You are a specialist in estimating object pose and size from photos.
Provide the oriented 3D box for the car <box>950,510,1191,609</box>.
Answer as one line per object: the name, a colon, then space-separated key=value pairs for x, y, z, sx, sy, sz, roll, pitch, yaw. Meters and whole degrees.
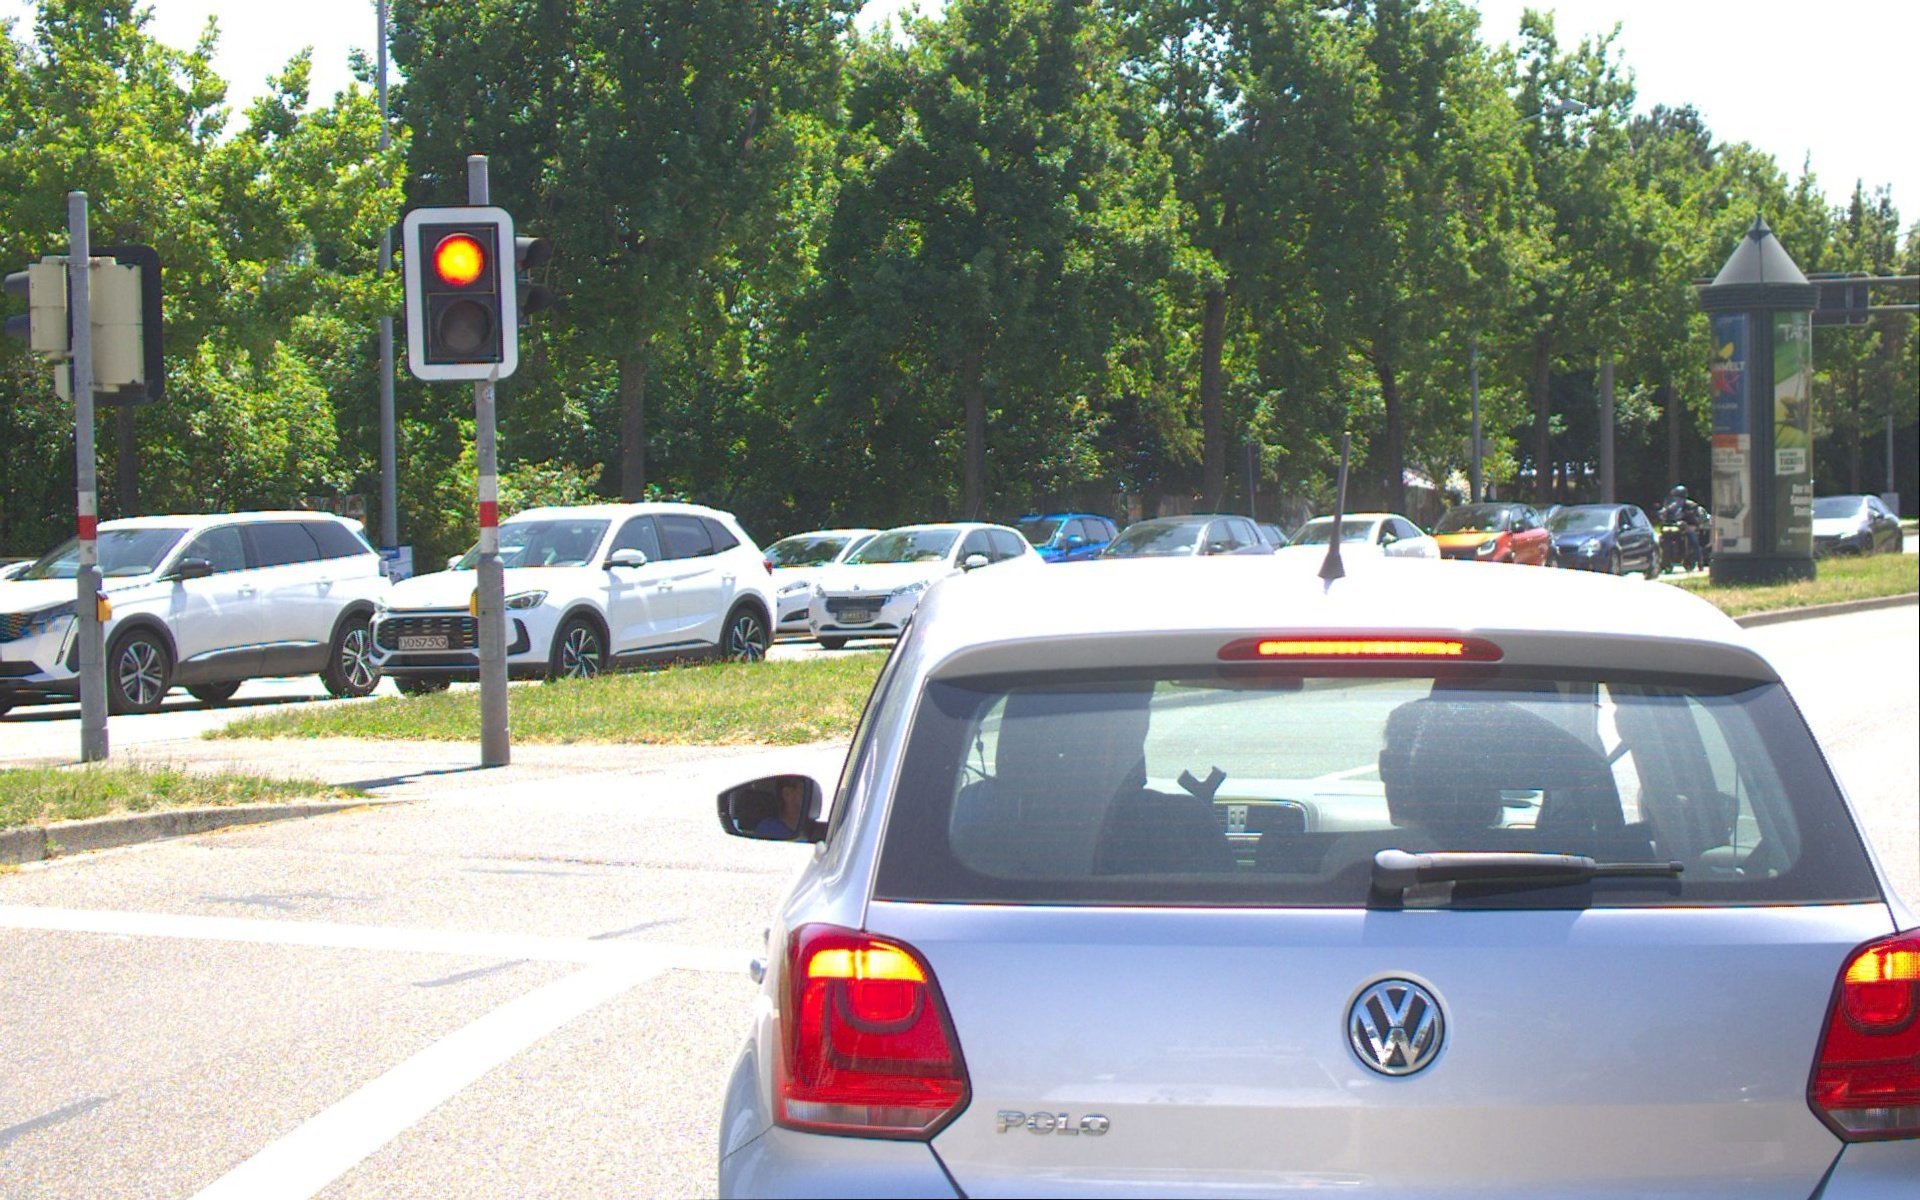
car: x=1.727 y=-0.644 z=52.070 sx=1.861 sy=1.417 sz=4.401 roll=0 pitch=2 yaw=29

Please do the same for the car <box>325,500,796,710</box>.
car: x=-3.382 y=-0.019 z=29.965 sx=1.861 sy=1.677 sz=4.401 roll=0 pitch=2 yaw=29

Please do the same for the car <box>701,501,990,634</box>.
car: x=-1.468 y=-0.476 z=45.954 sx=1.861 sy=1.677 sz=4.401 roll=0 pitch=2 yaw=29

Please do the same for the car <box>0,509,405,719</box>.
car: x=-6.813 y=0.052 z=29.095 sx=1.861 sy=1.612 sz=4.401 roll=0 pitch=2 yaw=29

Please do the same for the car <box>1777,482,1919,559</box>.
car: x=17.885 y=-1.607 z=68.955 sx=1.973 sy=1.483 sz=3.994 roll=0 pitch=2 yaw=28

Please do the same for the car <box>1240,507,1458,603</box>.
car: x=6.133 y=-0.726 z=53.778 sx=1.861 sy=1.417 sz=4.401 roll=0 pitch=2 yaw=29

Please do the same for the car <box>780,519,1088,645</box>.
car: x=-0.248 y=-0.257 z=42.057 sx=1.861 sy=1.417 sz=4.401 roll=0 pitch=2 yaw=29

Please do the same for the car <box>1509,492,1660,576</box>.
car: x=11.726 y=-1.237 z=64.419 sx=1.718 sy=1.470 sz=3.791 roll=-1 pitch=0 yaw=27

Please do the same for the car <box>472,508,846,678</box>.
car: x=-3.146 y=-0.126 z=36.868 sx=1.861 sy=1.677 sz=4.401 roll=0 pitch=2 yaw=29

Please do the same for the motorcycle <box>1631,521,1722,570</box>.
motorcycle: x=14.479 y=-1.103 z=69.375 sx=0.897 sy=0.949 sz=2.811 roll=-1 pitch=0 yaw=31

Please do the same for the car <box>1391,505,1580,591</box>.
car: x=9.201 y=-0.930 z=59.946 sx=1.861 sy=1.417 sz=4.401 roll=0 pitch=2 yaw=29

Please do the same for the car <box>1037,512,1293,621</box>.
car: x=2.908 y=-0.502 z=47.823 sx=1.861 sy=1.417 sz=4.401 roll=0 pitch=2 yaw=29

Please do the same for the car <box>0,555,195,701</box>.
car: x=-9.254 y=0.258 z=31.644 sx=1.861 sy=1.266 sz=4.401 roll=0 pitch=2 yaw=29

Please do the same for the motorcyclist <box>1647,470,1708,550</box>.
motorcyclist: x=14.470 y=-1.811 z=69.313 sx=0.907 sy=1.581 sz=1.008 roll=-1 pitch=0 yaw=30

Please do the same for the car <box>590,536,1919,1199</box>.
car: x=0.534 y=0.637 z=5.750 sx=1.776 sy=1.417 sz=4.000 roll=0 pitch=2 yaw=1
